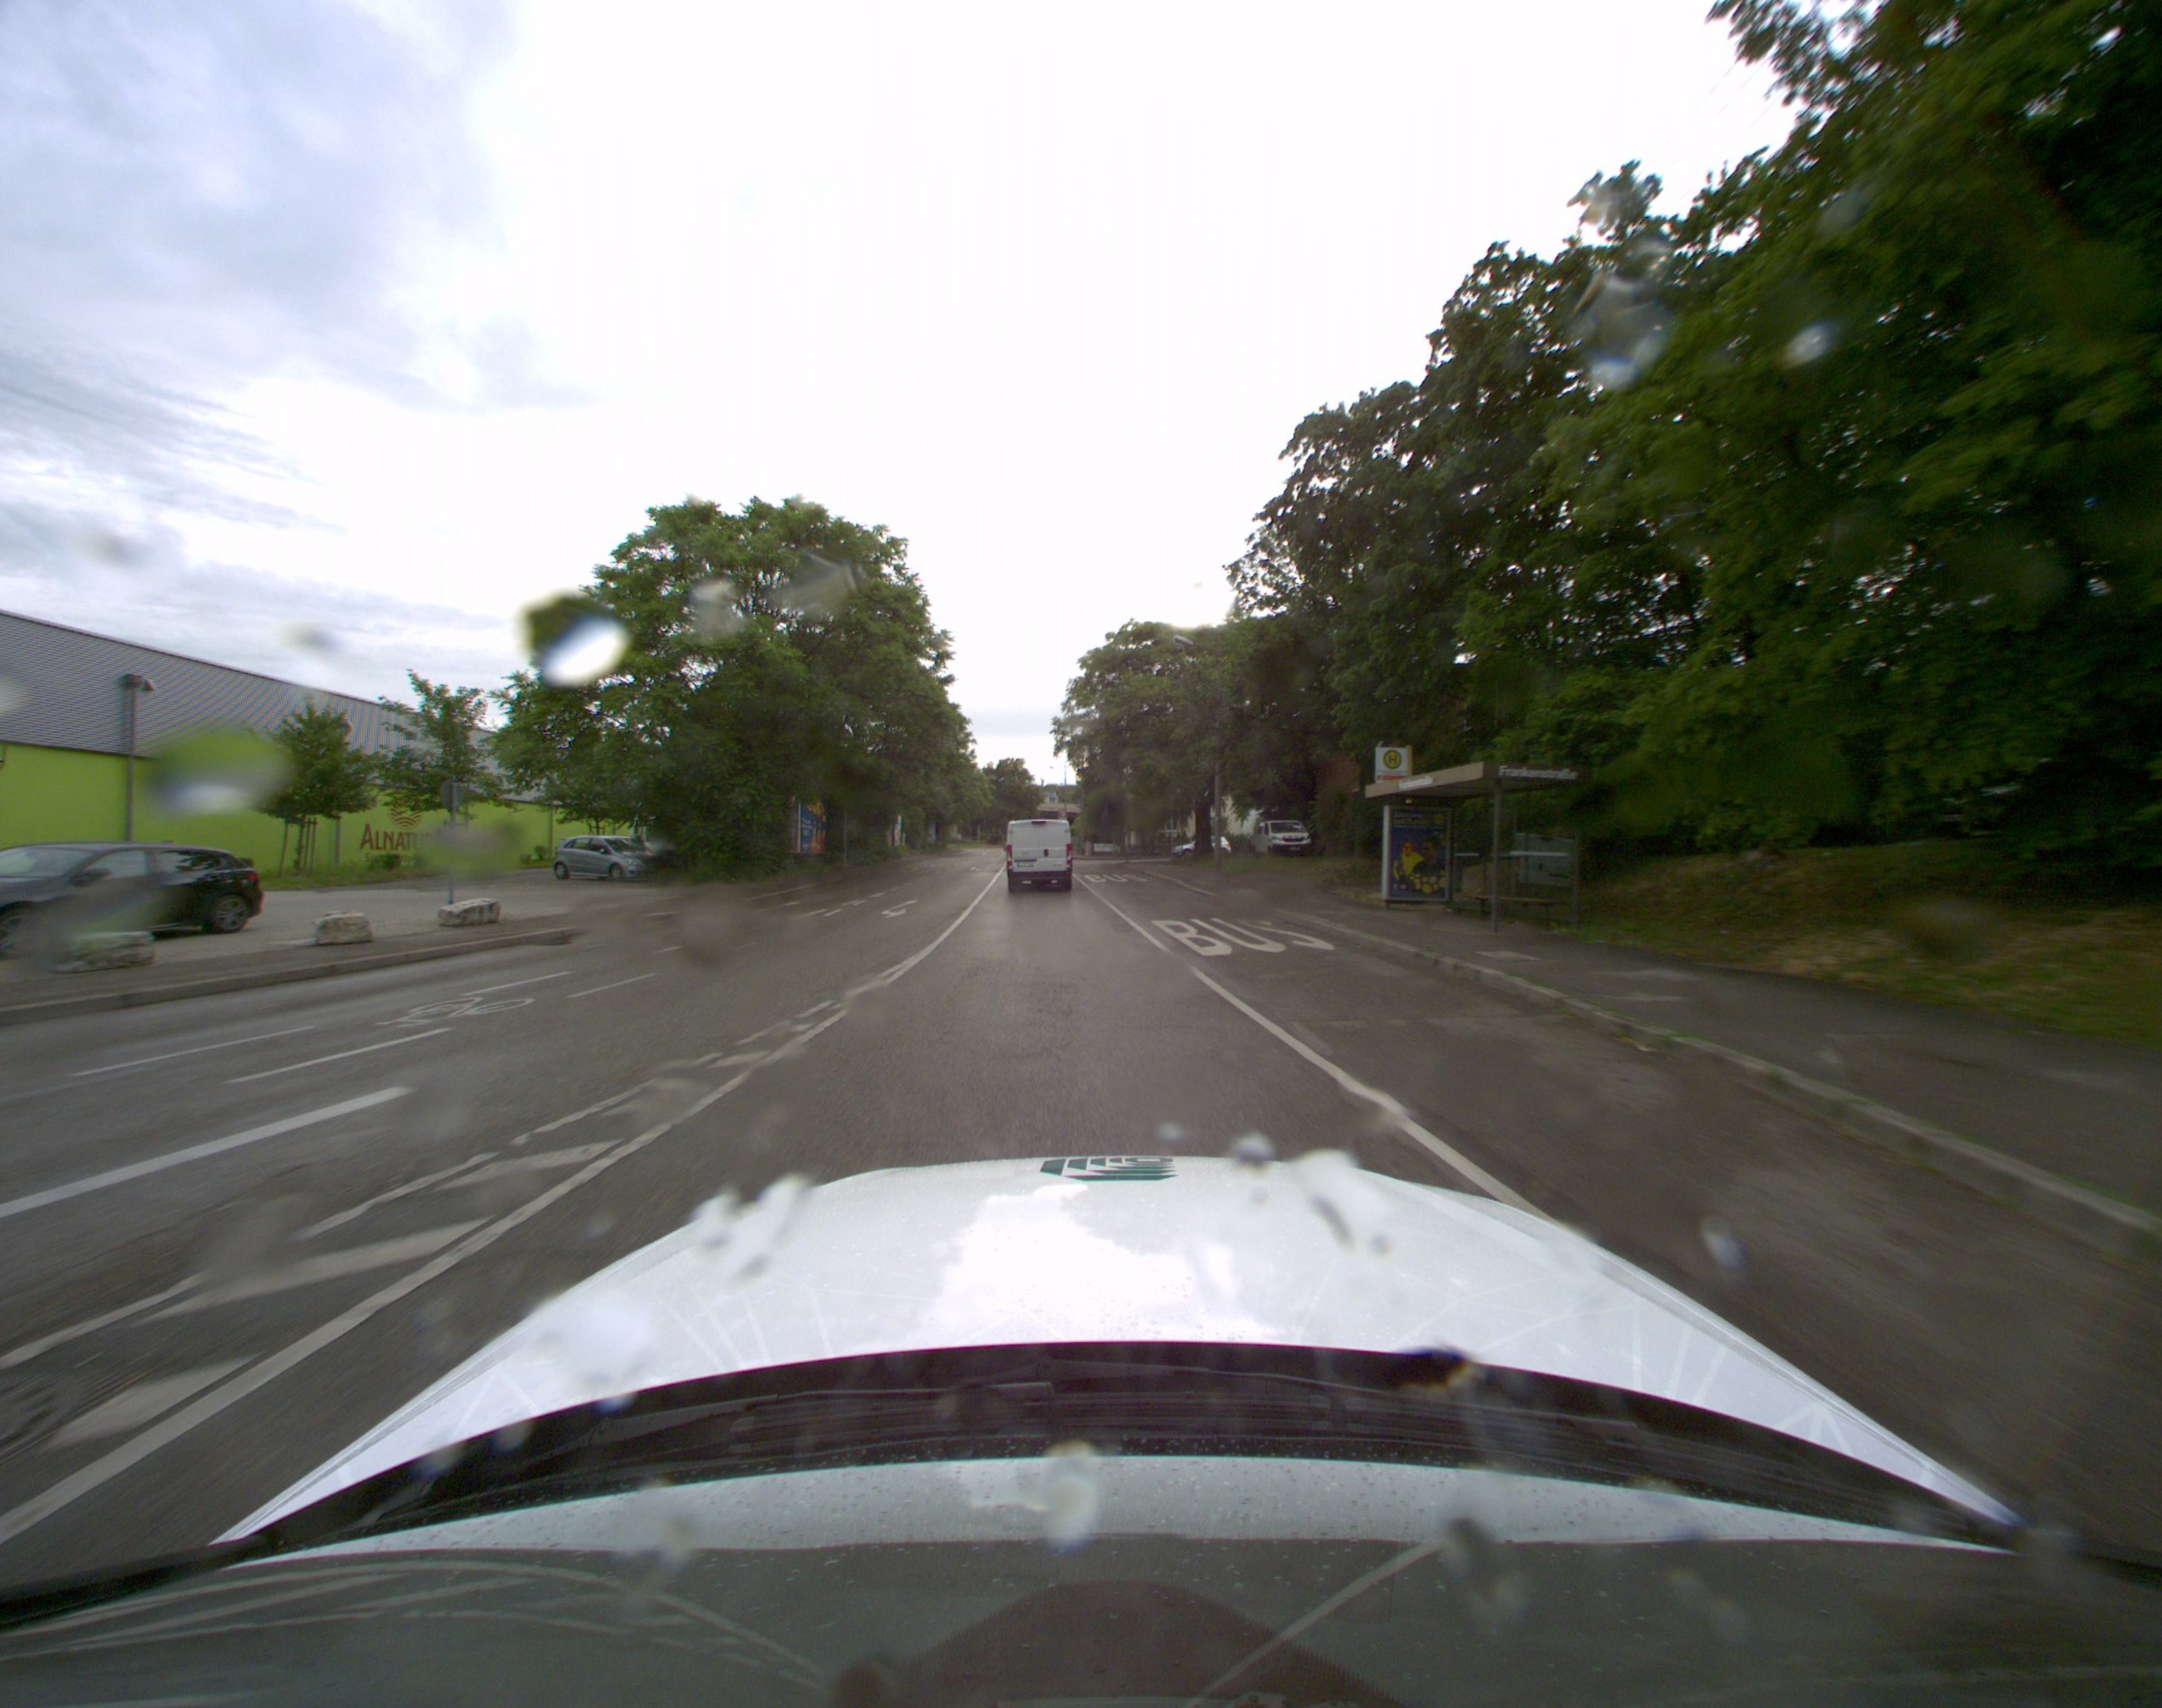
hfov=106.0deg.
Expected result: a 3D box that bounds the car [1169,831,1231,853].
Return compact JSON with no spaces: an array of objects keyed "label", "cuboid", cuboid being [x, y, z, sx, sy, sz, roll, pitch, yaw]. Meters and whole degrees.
[{"label":"car","cuboid":[8.364,-0.816,57.440,3.983,1.423,1.700,-2,0,-7]}]

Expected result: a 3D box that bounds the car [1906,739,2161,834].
[{"label":"car","cuboid":[23.405,-1.605,19.775,4.280,1.779,1.810,-6,-1,16]}]

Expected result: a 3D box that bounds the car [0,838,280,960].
[{"label":"car","cuboid":[-14.132,0.527,11.404,1.743,1.449,4.230,2,1,-3]}]

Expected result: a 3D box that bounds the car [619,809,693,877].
[{"label":"car","cuboid":[-17.331,-0.508,33.083,2.121,2.532,5.549,0,2,-33]}]

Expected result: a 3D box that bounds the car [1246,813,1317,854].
[{"label":"car","cuboid":[9.540,-0.983,39.203,1.988,1.804,5.145,1,1,-1]}]

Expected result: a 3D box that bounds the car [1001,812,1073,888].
[{"label":"car","cuboid":[-1.435,-0.135,27.231,2.141,2.283,5.058,-1,0,-3]}]

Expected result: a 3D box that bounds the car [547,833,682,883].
[{"label":"car","cuboid":[-16.383,0.101,28.628,4.077,1.542,2.011,2,2,22]}]

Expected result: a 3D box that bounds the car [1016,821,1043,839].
[{"label":"car","cuboid":[-8.918,-4.165,142.534,2.515,3.017,7.240,1,2,15]}]

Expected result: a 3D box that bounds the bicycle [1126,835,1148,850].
[{"label":"bicycle","cuboid":[4.177,-0.861,60.952,1.566,1.114,0.457,-1,1,-1]}]
